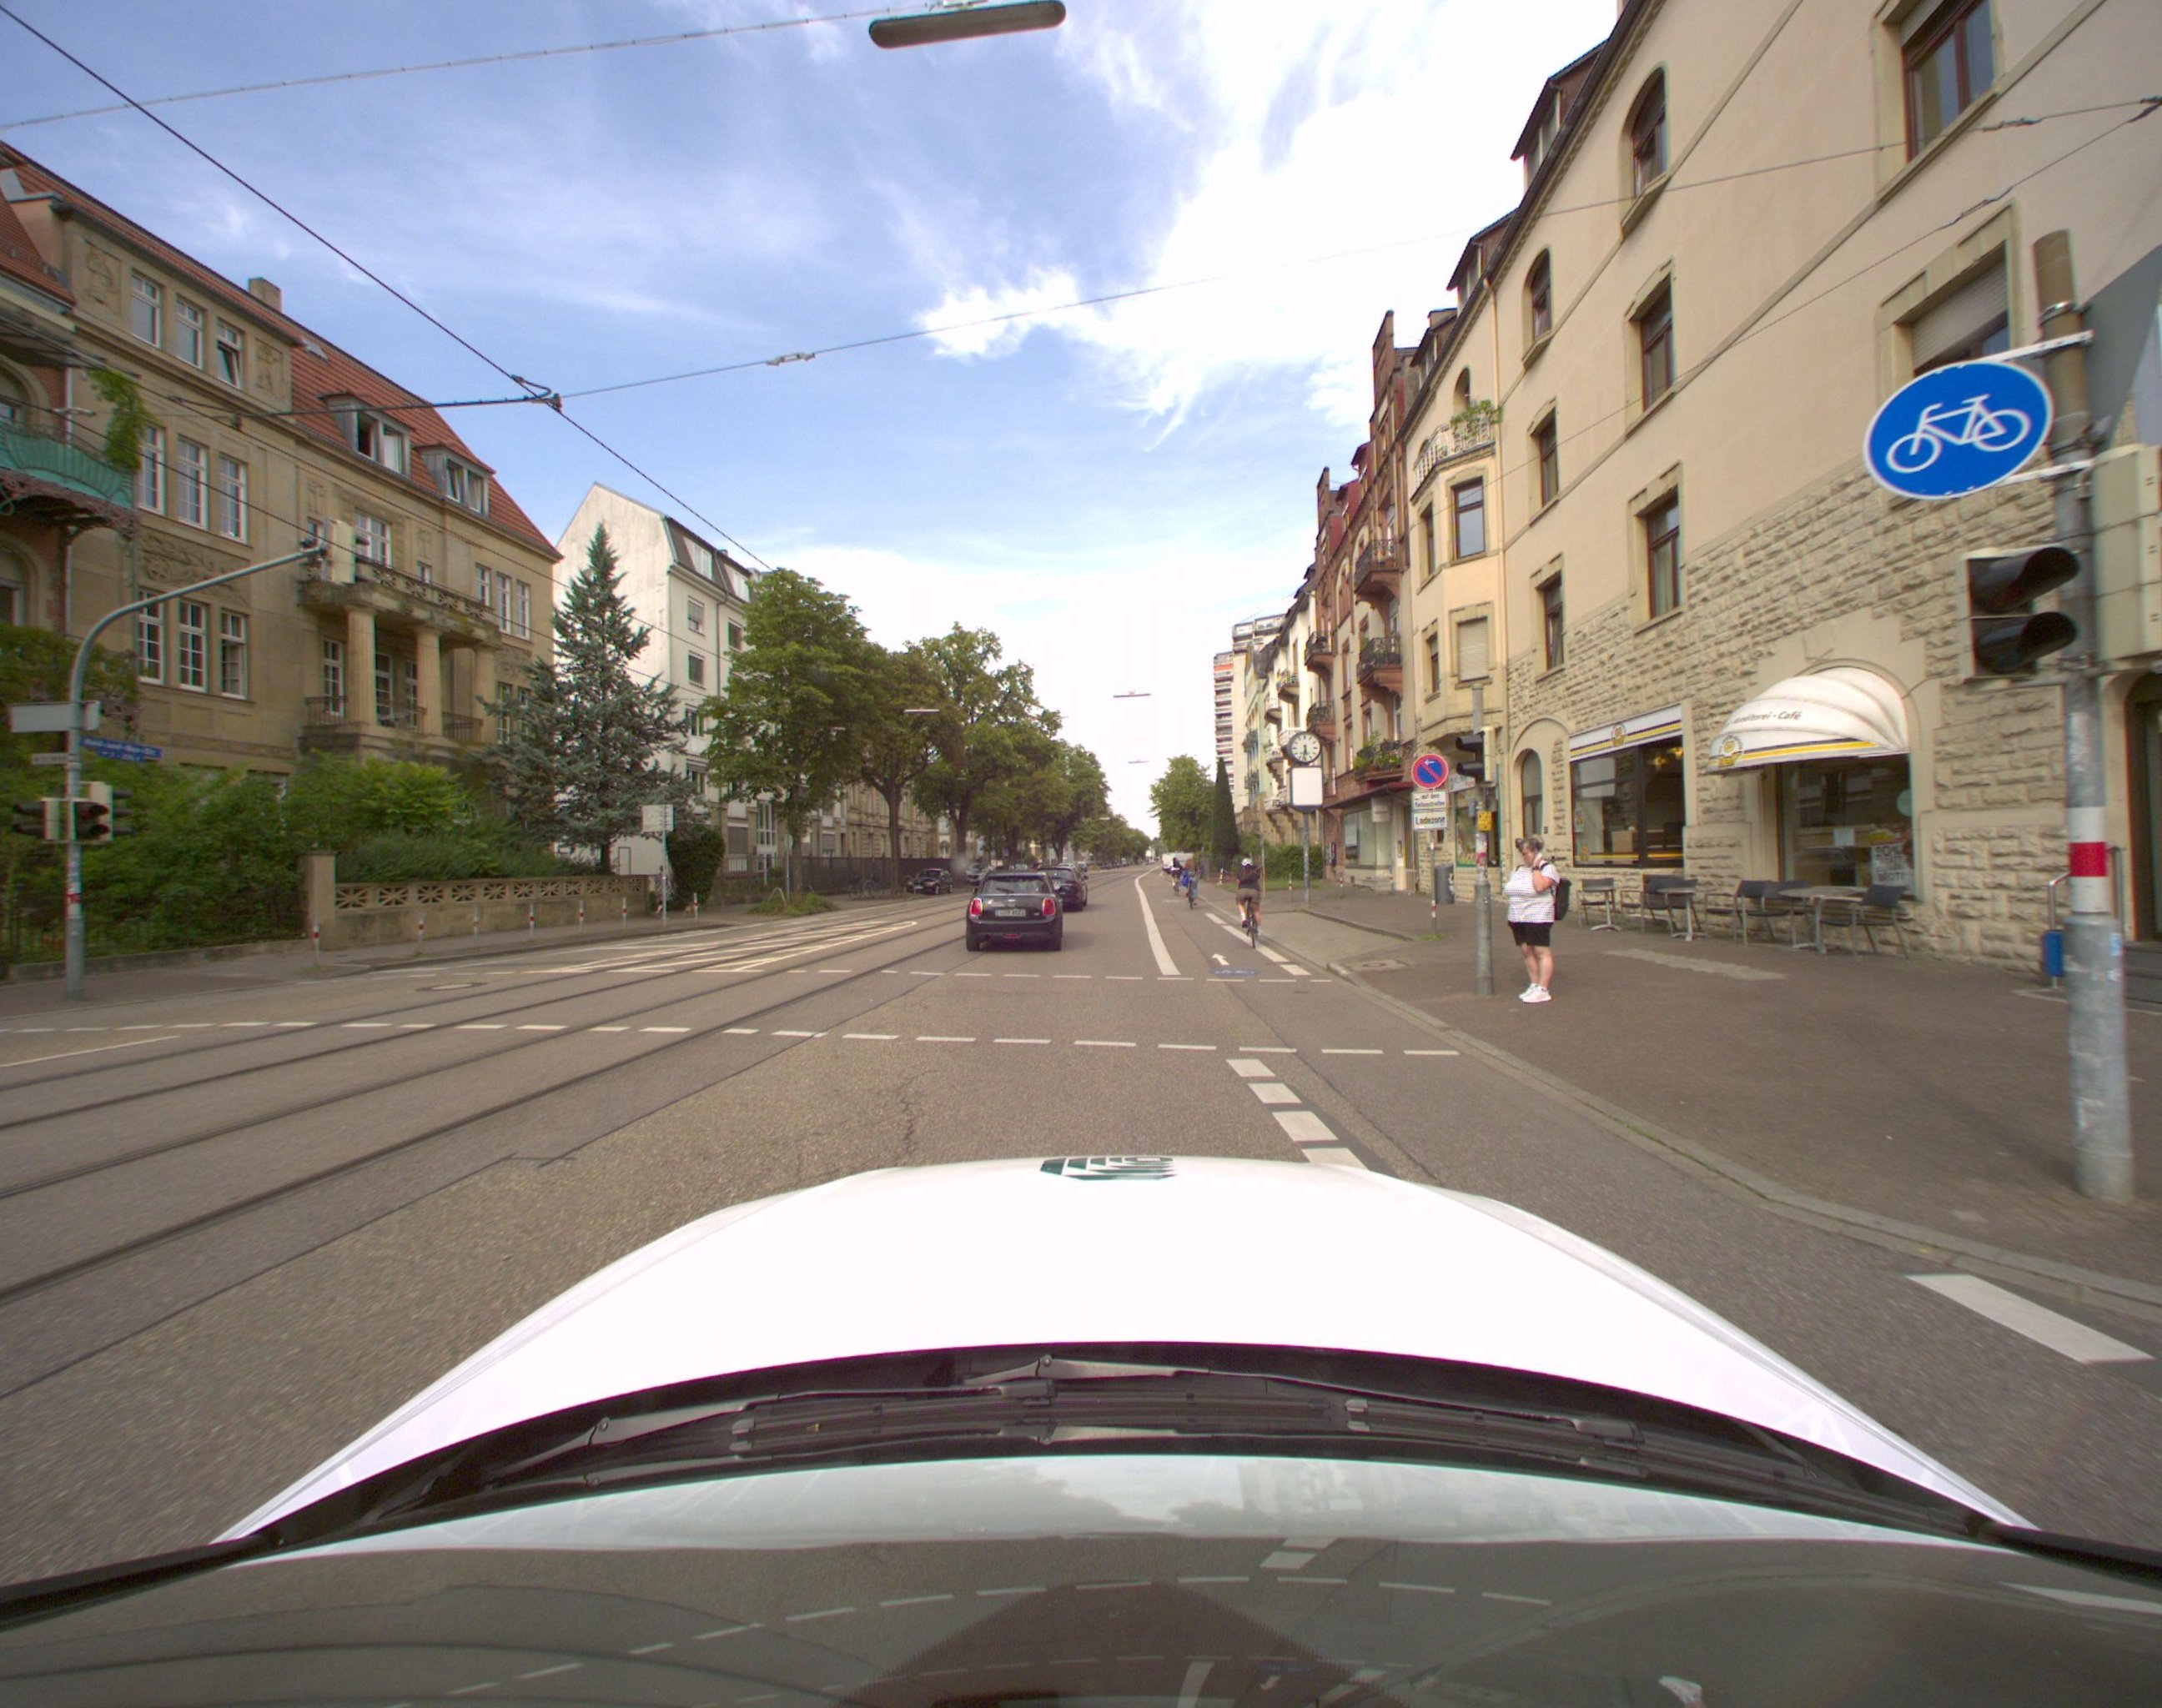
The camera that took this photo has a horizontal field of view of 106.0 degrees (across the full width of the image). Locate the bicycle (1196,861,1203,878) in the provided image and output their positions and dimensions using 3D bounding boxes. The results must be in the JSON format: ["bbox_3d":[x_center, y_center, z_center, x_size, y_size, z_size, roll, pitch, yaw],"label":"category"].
[{"bbox_3d":[8.450,1.109,58.105,0.389,1.142,1.924,-3,-1,6],"label":"bicycle"}]

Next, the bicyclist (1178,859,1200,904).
[{"bbox_3d":[3.680,0.915,27.615,0.643,1.470,0.803,-2,-1,10],"label":"bicyclist"}]

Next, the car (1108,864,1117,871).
[{"bbox_3d":[7.349,3.064,190.361,1.793,1.583,4.037,-2,-1,6],"label":"car"}]

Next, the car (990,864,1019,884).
[{"bbox_3d":[-6.171,1.601,65.945,1.592,1.468,4.085,-1,-1,6],"label":"car"}]

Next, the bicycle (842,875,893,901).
[{"bbox_3d":[-10.149,1.594,38.732,2.241,1.175,0.828,0,-1,-27],"label":"bicycle"}]

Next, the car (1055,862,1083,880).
[{"bbox_3d":[-0.963,1.405,68.576,1.561,1.416,4.011,-3,-1,10],"label":"car"}]

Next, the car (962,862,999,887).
[{"bbox_3d":[-7.128,1.444,58.245,1.702,1.673,4.364,-1,-1,6],"label":"car"}]

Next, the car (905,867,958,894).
[{"bbox_3d":[-8.482,1.482,46.440,1.710,1.424,4.175,1,0,8],"label":"car"}]

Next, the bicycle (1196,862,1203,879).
[{"bbox_3d":[8.054,1.139,55.412,0.389,1.103,1.762,-3,-1,6],"label":"bicycle"}]

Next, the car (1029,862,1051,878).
[{"bbox_3d":[-4.260,1.640,85.192,1.713,1.655,4.549,1,-1,5],"label":"car"}]

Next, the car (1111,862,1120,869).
[{"bbox_3d":[8.541,2.834,200.022,1.793,1.583,4.037,-2,-1,6],"label":"car"}]

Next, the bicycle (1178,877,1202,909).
[{"bbox_3d":[3.759,1.320,27.956,0.684,0.962,2.042,-2,0,11],"label":"bicycle"}]

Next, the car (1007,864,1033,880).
[{"bbox_3d":[-5.690,1.633,76.568,1.713,1.424,4.029,1,-1,5],"label":"car"}]

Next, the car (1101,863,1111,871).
[{"bbox_3d":[5.167,2.705,170.438,1.793,1.583,4.037,-2,-1,6],"label":"car"}]

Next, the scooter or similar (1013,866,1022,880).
[{"bbox_3d":[-5.749,1.691,73.664,0.562,1.223,1.316,-1,-1,-17],"label":"scooter or similar"}]

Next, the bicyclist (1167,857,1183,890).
[{"bbox_3d":[4.189,0.864,36.272,0.654,1.463,1.180,0,-1,5],"label":"bicyclist"}]

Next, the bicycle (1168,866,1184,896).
[{"bbox_3d":[4.207,1.191,36.291,0.654,1.249,2.128,0,-1,5],"label":"bicycle"}]

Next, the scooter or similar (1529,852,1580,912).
[{"bbox_3d":[9.797,0.567,16.883,0.395,1.168,1.199,-4,-1,6],"label":"scooter or similar"}]

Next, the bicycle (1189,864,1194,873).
[{"bbox_3d":[10.913,1.414,80.422,0.384,0.907,1.844,-2,-1,4],"label":"bicycle"}]

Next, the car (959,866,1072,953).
[{"bbox_3d":[-1.135,0.972,15.823,1.787,1.423,4.000,1,-1,1],"label":"car"}]

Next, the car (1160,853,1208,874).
[{"bbox_3d":[11.245,1.021,88.786,4.981,2.290,2.358,0,-1,-37],"label":"car"}]

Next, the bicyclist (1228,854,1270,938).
[{"bbox_3d":[3.265,0.790,15.879,0.635,1.570,1.111,0,-1,4],"label":"bicyclist"}]

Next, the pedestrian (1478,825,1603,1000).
[{"bbox_3d":[4.717,0.579,8.414,0.716,1.660,0.760,-6,-1,2],"label":"pedestrian"}]

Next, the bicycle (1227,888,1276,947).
[{"bbox_3d":[3.258,1.188,15.679,0.635,0.981,2.074,0,-1,4],"label":"bicycle"}]

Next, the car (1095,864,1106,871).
[{"bbox_3d":[3.847,2.660,160.107,1.793,1.374,4.037,-2,-1,6],"label":"car"}]

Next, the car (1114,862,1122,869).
[{"bbox_3d":[9.511,2.908,209.064,1.793,1.583,4.037,-2,-1,6],"label":"car"}]

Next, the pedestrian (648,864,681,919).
[{"bbox_3d":[-13.531,1.203,26.453,0.702,1.735,0.701,0,-1,1],"label":"pedestrian"}]

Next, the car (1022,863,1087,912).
[{"bbox_3d":[-0.795,1.035,26.852,1.786,1.470,4.003,0,-1,3],"label":"car"}]

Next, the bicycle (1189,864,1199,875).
[{"bbox_3d":[9.412,1.325,67.798,0.485,0.907,1.662,-2,-1,-5],"label":"bicycle"}]
